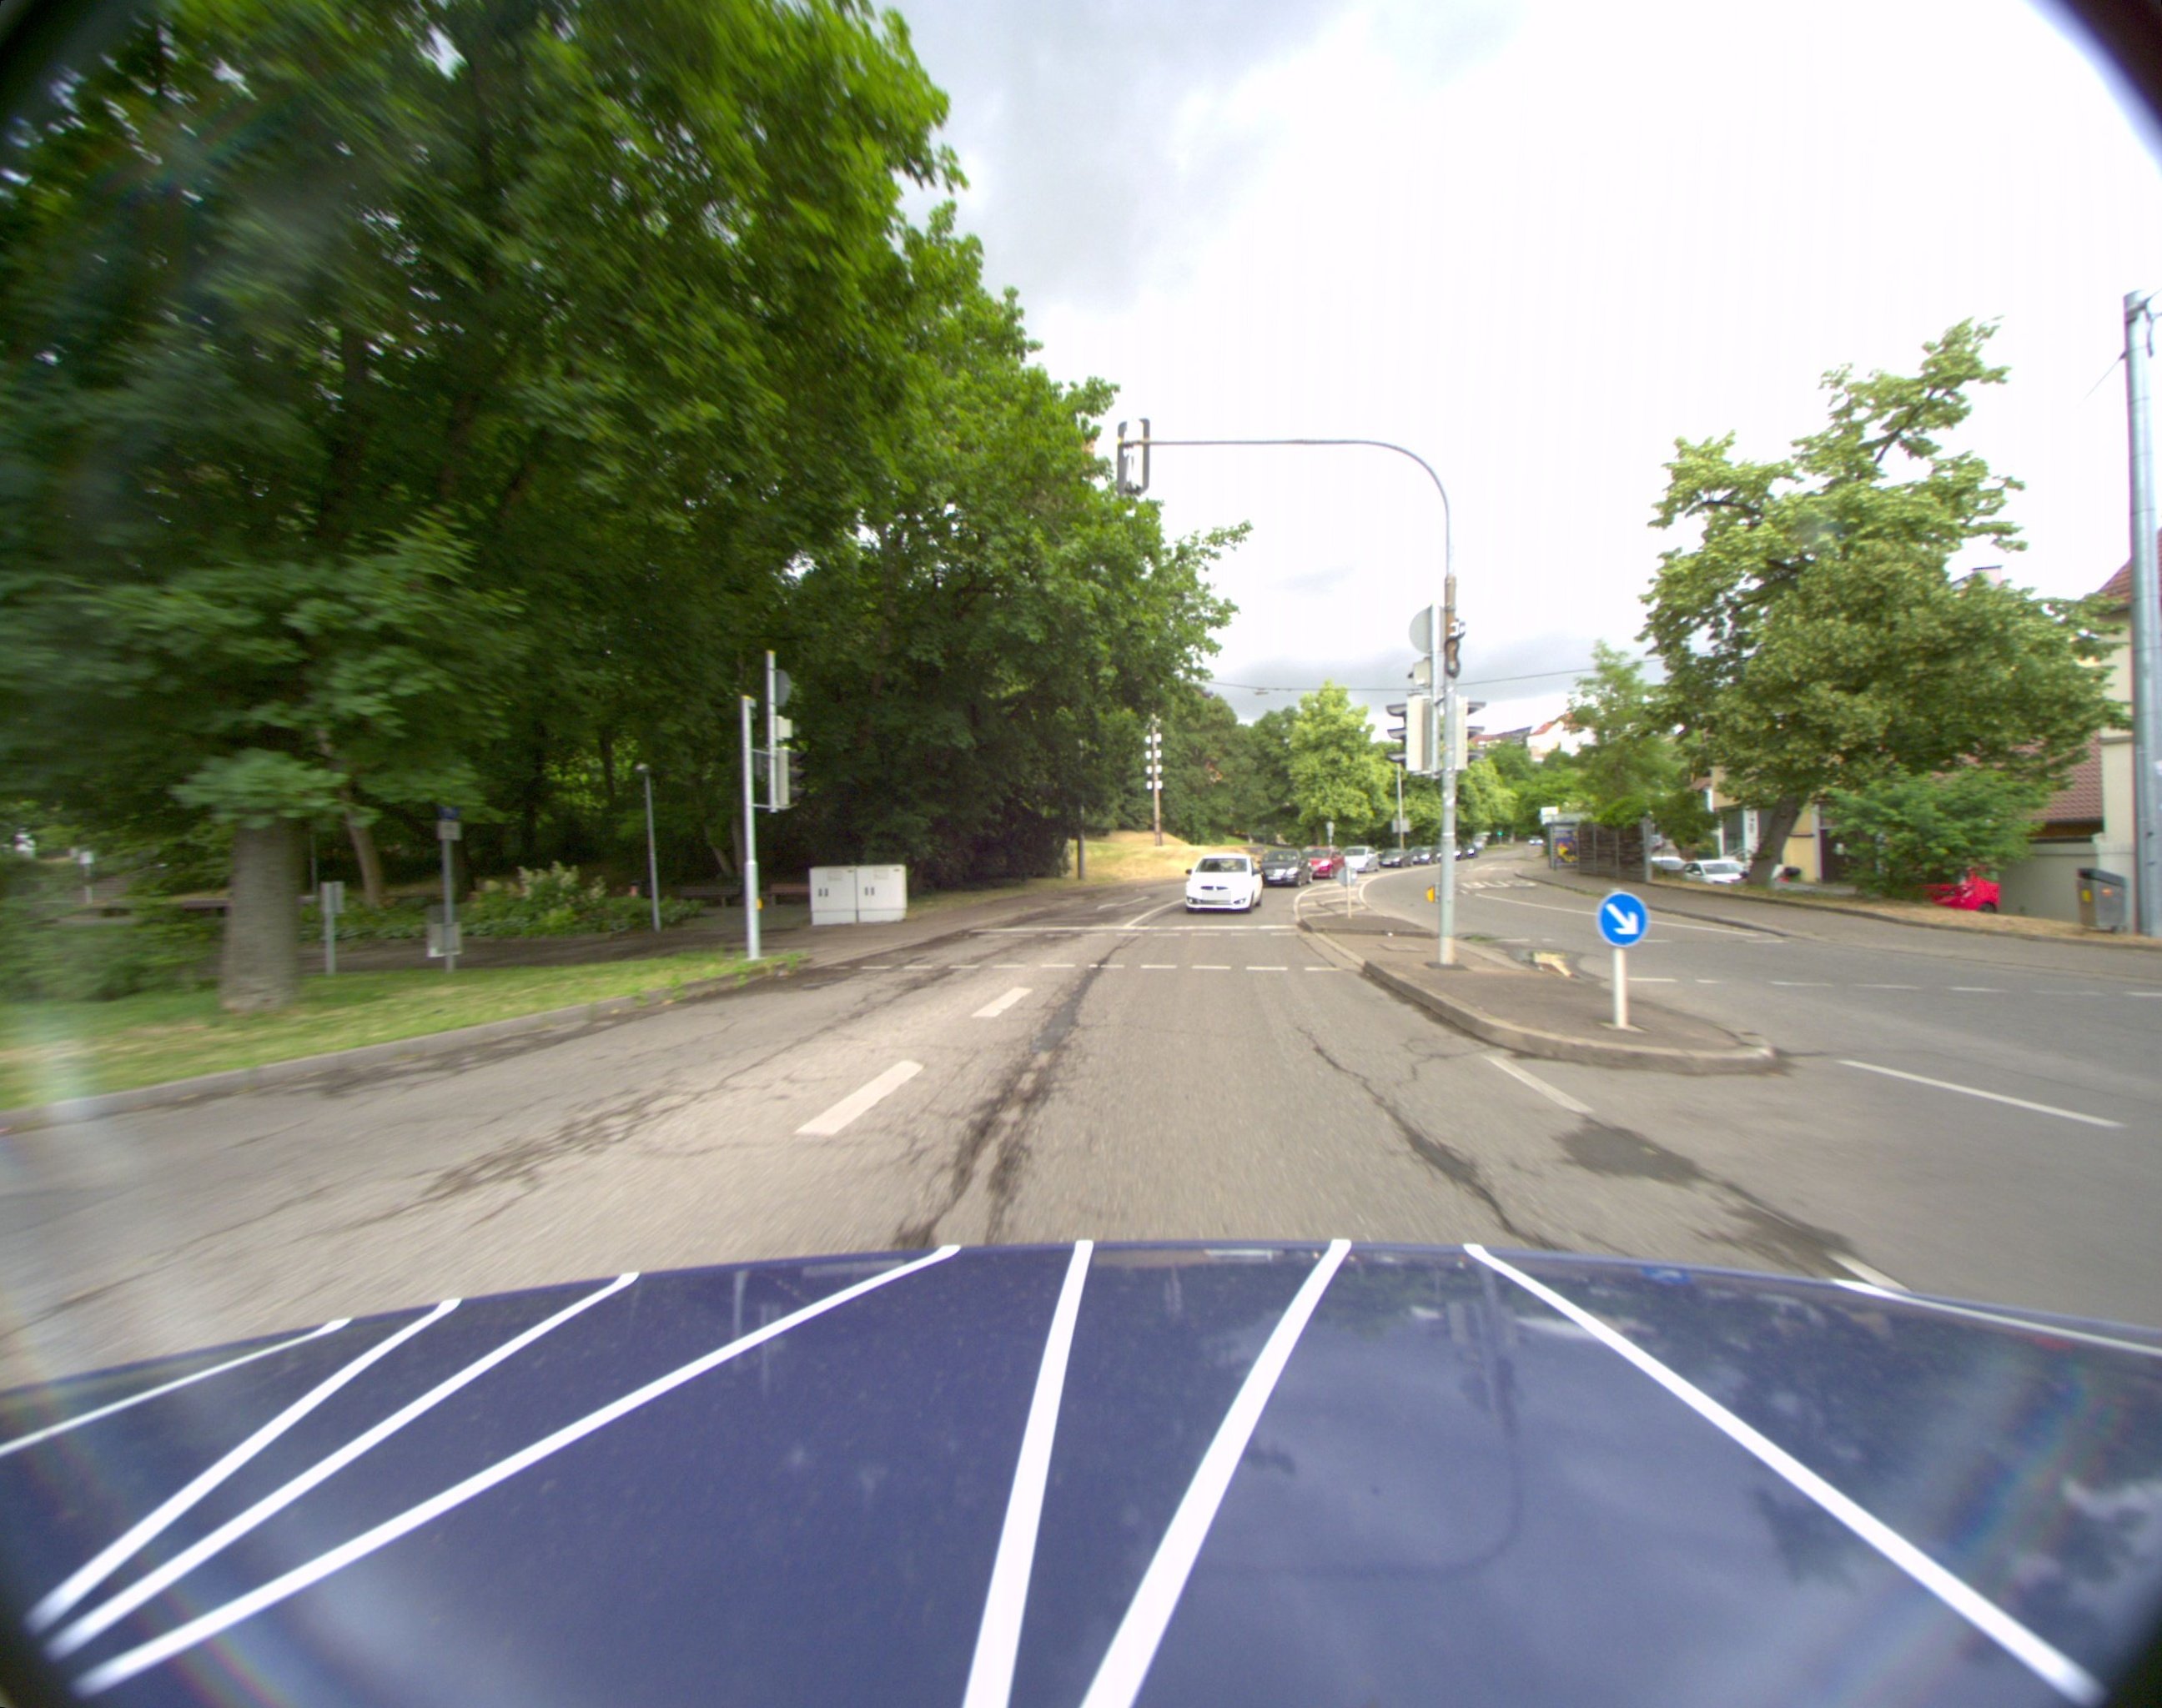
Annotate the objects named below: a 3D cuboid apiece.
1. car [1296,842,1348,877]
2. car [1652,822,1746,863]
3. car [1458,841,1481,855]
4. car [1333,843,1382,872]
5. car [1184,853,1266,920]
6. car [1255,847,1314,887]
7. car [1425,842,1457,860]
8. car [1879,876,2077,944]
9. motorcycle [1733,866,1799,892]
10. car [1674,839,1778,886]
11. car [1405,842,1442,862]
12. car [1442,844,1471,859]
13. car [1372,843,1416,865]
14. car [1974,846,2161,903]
[{"bbox_3d":[12.233,0.257,38.409,1.672,1.632,4.108,-1,1,30],"label":"car"},{"bbox_3d":[26.131,-0.502,32.263,1.932,1.598,3.666,-2,1,19],"label":"car"},{"bbox_3d":[37.741,-0.605,73.787,1.417,1.242,3.302,0,1,38],"label":"car"},{"bbox_3d":[16.561,0.182,45.392,1.779,1.560,4.007,-1,1,34],"label":"car"},{"bbox_3d":[3.884,0.796,20.033,1.626,1.499,4.005,-2,1,18],"label":"car"},{"bbox_3d":[8.596,0.504,31.899,1.727,1.512,4.006,-1,1,24],"label":"car"},{"bbox_3d":[30.460,-0.287,64.205,1.703,1.438,3.874,0,1,37],"label":"car"},{"bbox_3d":[21.410,1.292,18.179,3.631,1.346,1.597,-2,1,-14],"label":"car"},{"bbox_3d":[22.562,0.825,25.048,1.580,0.819,0.419,-1,1,25],"label":"motorcycle"},{"bbox_3d":[24.047,0.268,28.507,1.897,1.618,4.006,-1,1,23],"label":"car"},{"bbox_3d":[26.417,-0.170,58.564,1.693,1.403,3.990,0,1,38],"label":"car"},{"bbox_3d":[33.854,-0.233,68.499,1.641,1.262,3.632,0,1,38],"label":"car"},{"bbox_3d":[21.974,0.003,53.337,1.850,1.449,4.008,0,1,38],"label":"car"},{"bbox_3d":[28.617,0.519,21.876,1.653,1.483,3.480,-2,1,-4],"label":"car"}]
